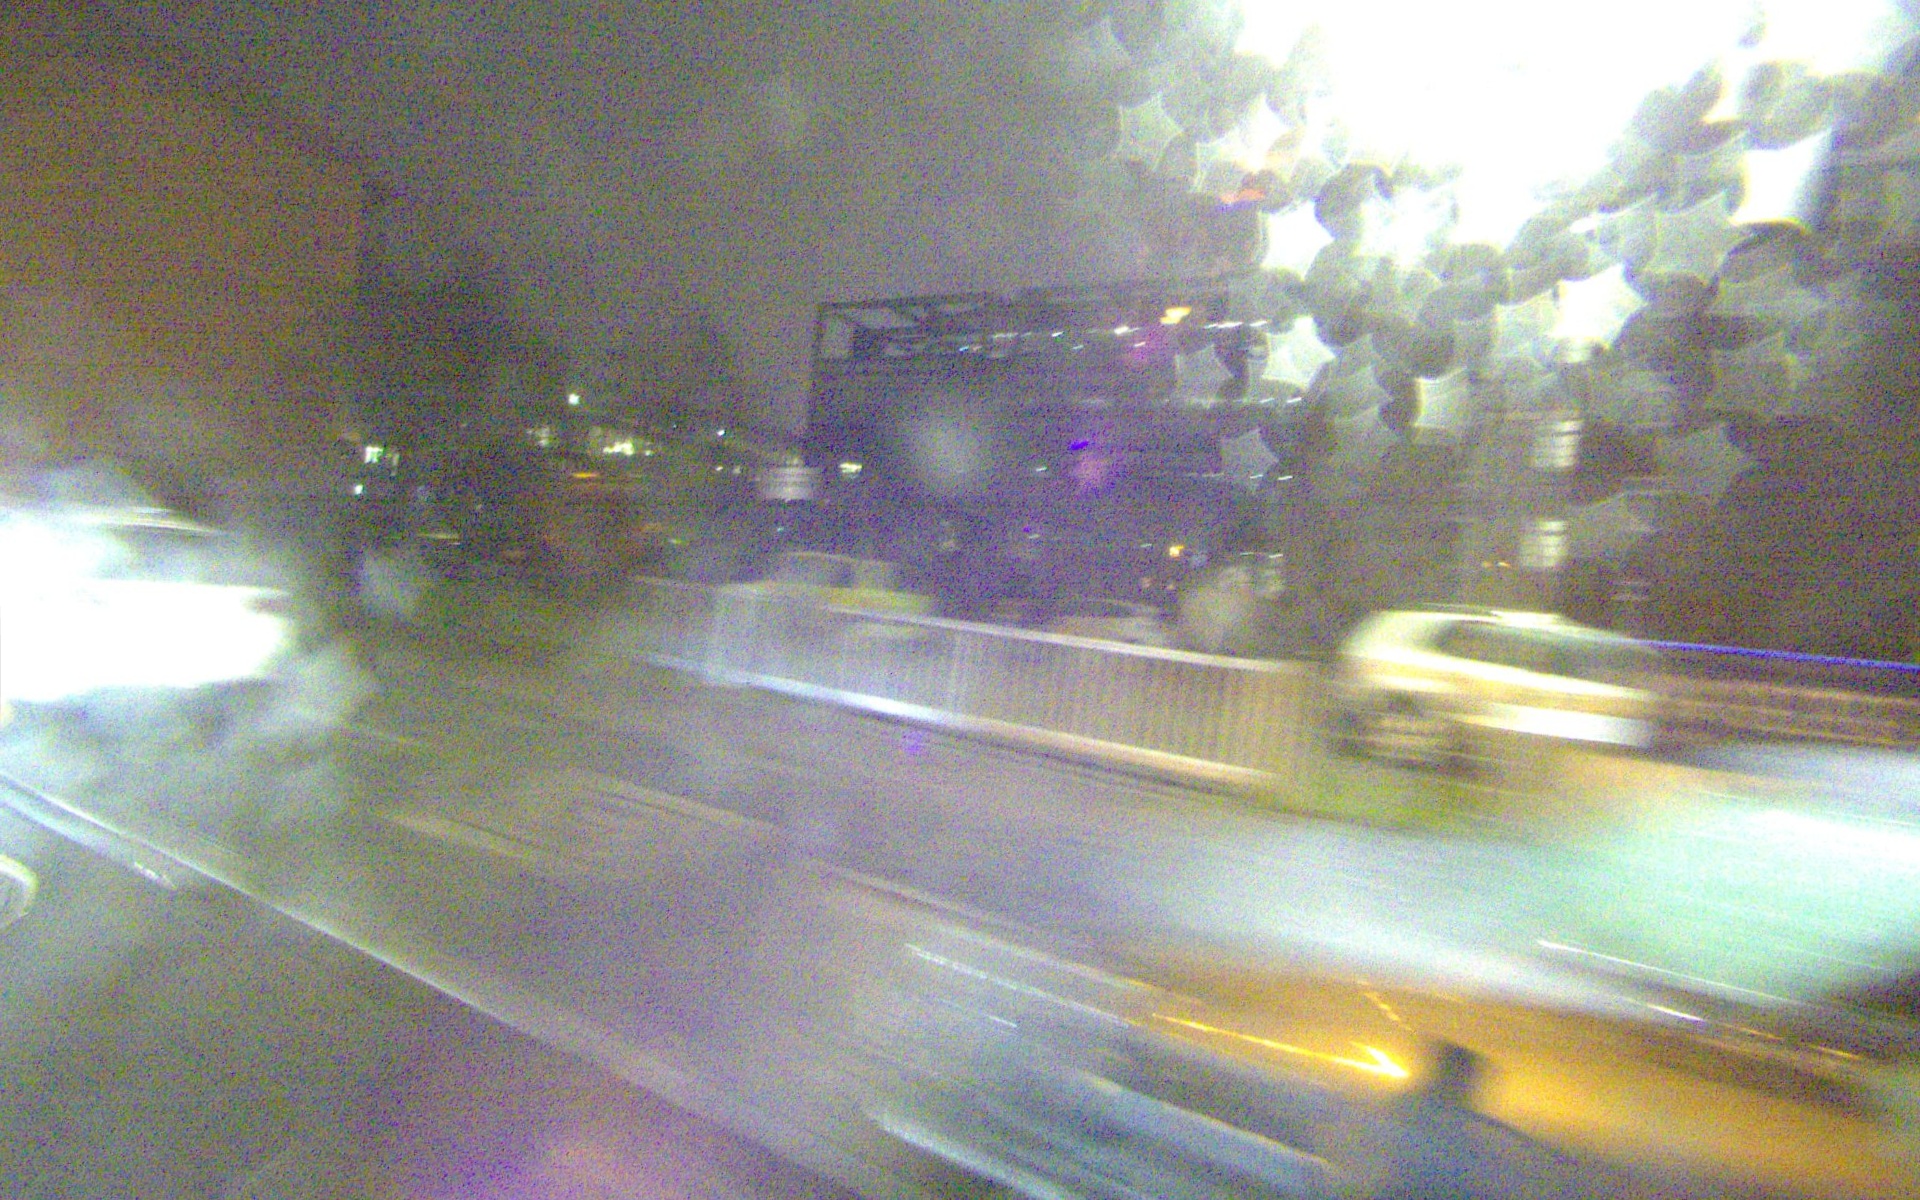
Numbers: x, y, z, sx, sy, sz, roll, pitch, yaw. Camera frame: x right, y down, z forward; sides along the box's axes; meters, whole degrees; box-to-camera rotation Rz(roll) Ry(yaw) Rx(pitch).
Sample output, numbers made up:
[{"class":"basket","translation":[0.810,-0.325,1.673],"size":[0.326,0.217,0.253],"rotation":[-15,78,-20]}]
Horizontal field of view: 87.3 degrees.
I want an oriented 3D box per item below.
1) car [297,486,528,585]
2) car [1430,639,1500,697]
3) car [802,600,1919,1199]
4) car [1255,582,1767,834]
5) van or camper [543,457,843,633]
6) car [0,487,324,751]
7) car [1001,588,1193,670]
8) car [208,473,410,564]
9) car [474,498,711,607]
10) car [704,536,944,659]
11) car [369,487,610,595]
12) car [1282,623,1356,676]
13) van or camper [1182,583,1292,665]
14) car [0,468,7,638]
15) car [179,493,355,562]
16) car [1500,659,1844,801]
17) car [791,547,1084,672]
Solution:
[{"class":"car","translation":[-11.598,-1.317,21.584],"size":[1.656,1.540,3.993],"rotation":[8,1,29]},{"class":"car","translation":[16.943,2.257,33.679],"size":[1.641,1.636,3.991],"rotation":[7,0,31]},{"class":"car","translation":[2.140,1.011,2.181],"size":[4.708,1.468,1.791],"rotation":[7,3,29]},{"class":"car","translation":[5.568,0.978,10.635],"size":[4.187,1.717,1.906],"rotation":[8,2,31]},{"class":"van or camper","translation":[-4.724,-0.884,18.642],"size":[2.136,2.559,5.066],"rotation":[8,1,32]},{"class":"car","translation":[-6.969,-0.062,7.588],"size":[4.360,1.508,1.715],"rotation":[7,1,29]},{"class":"car","translation":[3.268,0.679,24.327],"size":[4.190,1.431,1.680],"rotation":[7,1,33]},{"class":"car","translation":[-17.227,-2.116,26.807],"size":[1.720,1.812,4.070],"rotation":[8,1,30]},{"class":"car","translation":[-7.188,-0.873,20.152],"size":[1.775,1.637,4.224],"rotation":[7,1,29]},{"class":"car","translation":[-2.151,-0.050,15.727],"size":[3.351,1.488,1.564],"rotation":[7,1,31]},{"class":"car","translation":[-9.524,-1.139,20.719],"size":[1.656,1.637,4.224],"rotation":[8,1,28]},{"class":"car","translation":[13.014,1.809,36.334],"size":[1.641,1.636,3.991],"rotation":[7,0,31]},{"class":"van or camper","translation":[10.243,0.941,36.872],"size":[2.342,2.586,5.383],"rotation":[7,1,31]},{"class":"car","translation":[-11.795,-0.708,10.285],"size":[4.113,1.731,1.714],"rotation":[8,3,27]},{"class":"car","translation":[-19.473,-2.004,28.418],"size":[1.593,1.418,3.690],"rotation":[8,1,30]},{"class":"car","translation":[11.219,1.997,16.231],"size":[4.188,1.485,1.829],"rotation":[7,-1,32]},{"class":"car","translation":[-0.466,0.133,17.687],"size":[4.785,1.567,1.831],"rotation":[7,1,31]}]
